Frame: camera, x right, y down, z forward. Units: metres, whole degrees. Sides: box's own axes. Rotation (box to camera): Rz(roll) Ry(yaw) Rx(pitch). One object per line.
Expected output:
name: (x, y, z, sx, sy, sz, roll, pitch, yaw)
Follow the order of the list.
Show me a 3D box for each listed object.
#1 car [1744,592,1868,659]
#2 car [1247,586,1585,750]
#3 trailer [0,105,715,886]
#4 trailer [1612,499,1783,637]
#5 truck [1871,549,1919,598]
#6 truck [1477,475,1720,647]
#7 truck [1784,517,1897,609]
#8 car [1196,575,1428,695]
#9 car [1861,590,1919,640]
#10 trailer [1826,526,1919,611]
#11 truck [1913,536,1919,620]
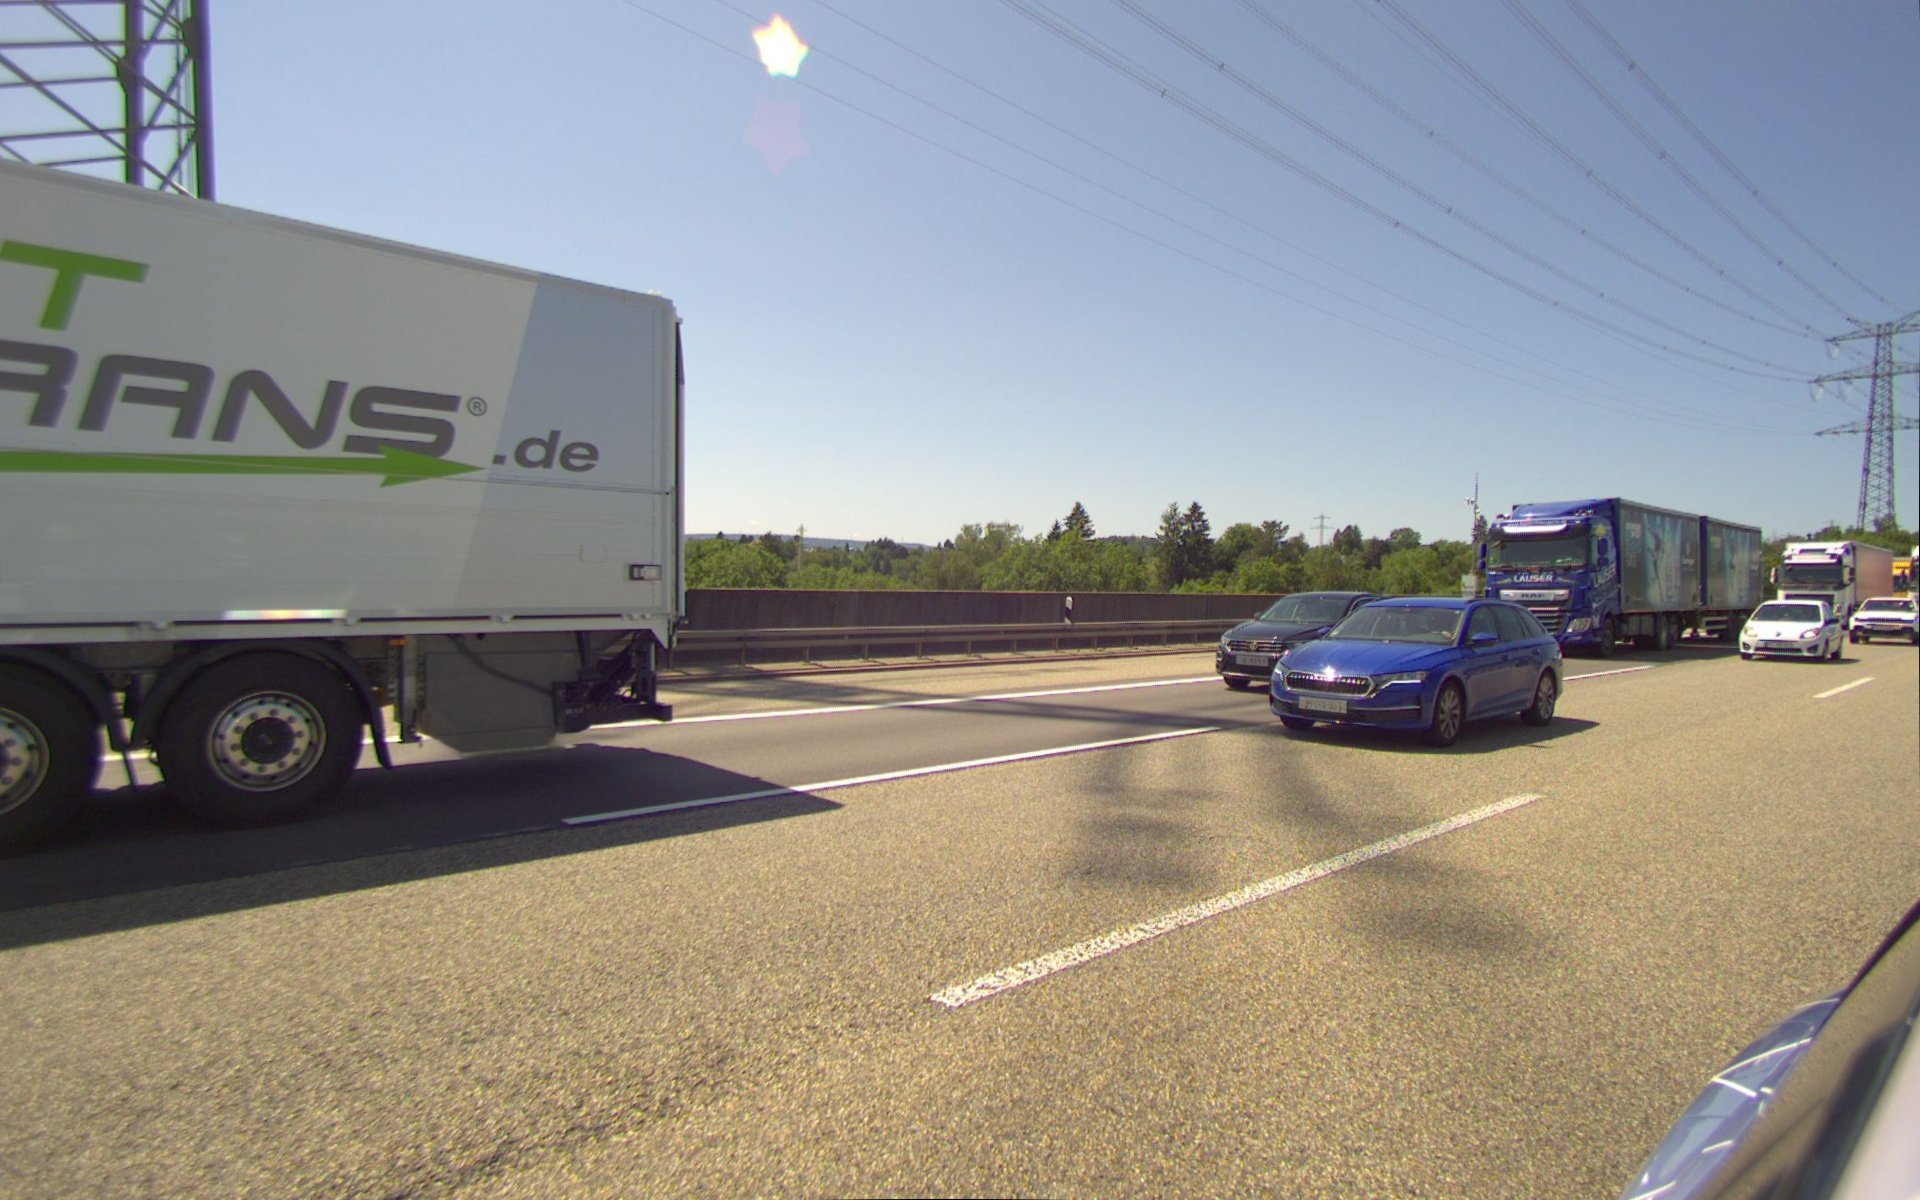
car: (20.834, 0.564, 24.873, 4.072, 1.470, 1.711, -1, 1, -41)
car: (5.227, 0.595, 11.303, 4.483, 1.470, 1.711, -1, 1, -41)
trailer: (-5.842, -0.534, 6.155, 8.073, 3.940, 2.903, -1, 1, -42)
trailer: (25.036, -1.015, 34.171, 8.487, 4.140, 2.833, -1, 0, -41)
truck: (62.641, -1.789, 67.415, 6.139, 3.018, 2.249, -1, 4, -43)
truck: (17.964, -0.981, 28.041, 10.212, 3.999, 2.857, -1, 1, -41)
truck: (41.696, -1.686, 47.831, 8.115, 4.037, 2.608, -1, 0, -38)
car: (5.678, 0.463, 16.107, 4.046, 1.675, 1.711, -1, 1, -41)
car: (31.140, 0.458, 33.314, 4.072, 1.528, 1.711, -1, 1, -41)
trailer: (48.192, -1.593, 53.263, 8.926, 4.169, 2.606, -1, 0, -41)
truck: (48.047, -1.060, 48.258, 8.118, 3.874, 2.848, -1, 0, -40)
